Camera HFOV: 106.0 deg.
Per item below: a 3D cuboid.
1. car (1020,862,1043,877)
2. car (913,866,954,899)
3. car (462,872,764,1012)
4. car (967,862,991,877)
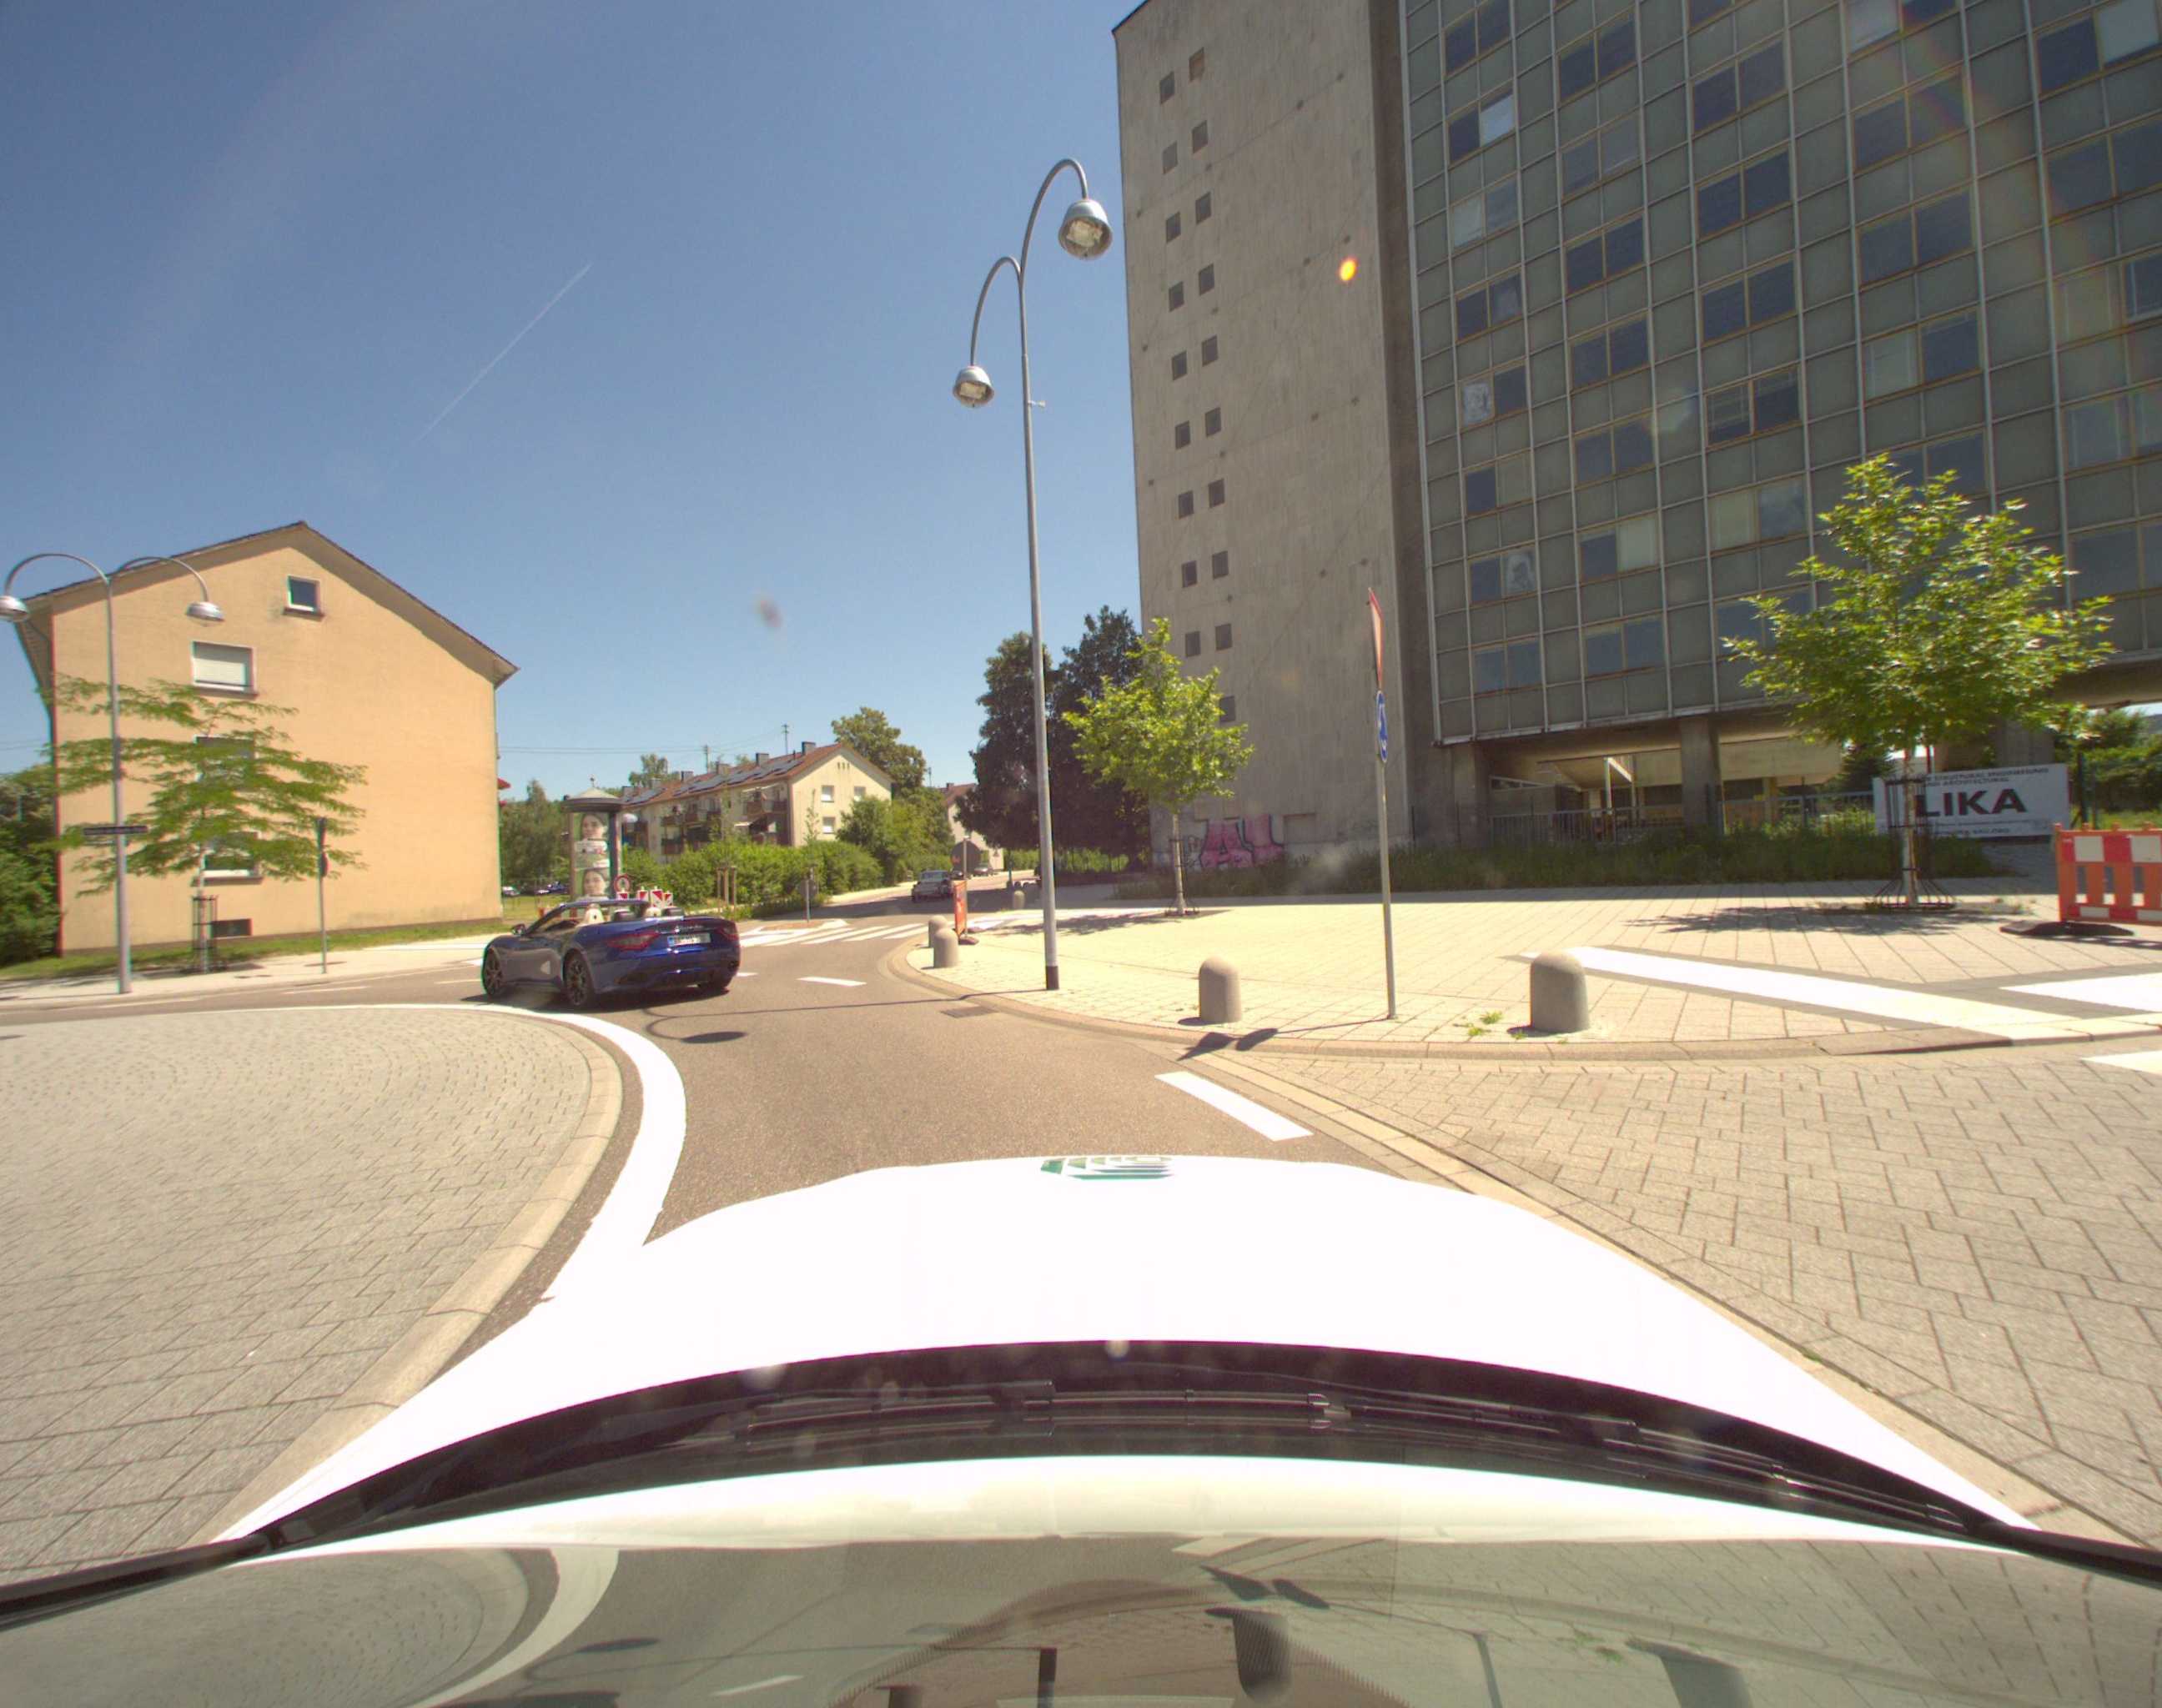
[{"bbox_3d":[-5.415,1.713,89.677,1.729,1.436,3.718,-4,0,7],"label":"car"},{"bbox_3d":[-7.462,1.404,41.465,1.737,1.436,3.702,-4,0,-7],"label":"car"},{"bbox_3d":[-6.591,1.173,11.287,4.448,1.530,1.889,-5,-3,35],"label":"car"},{"bbox_3d":[-11.439,1.770,91.493,1.729,1.436,3.719,-4,0,8],"label":"car"}]
